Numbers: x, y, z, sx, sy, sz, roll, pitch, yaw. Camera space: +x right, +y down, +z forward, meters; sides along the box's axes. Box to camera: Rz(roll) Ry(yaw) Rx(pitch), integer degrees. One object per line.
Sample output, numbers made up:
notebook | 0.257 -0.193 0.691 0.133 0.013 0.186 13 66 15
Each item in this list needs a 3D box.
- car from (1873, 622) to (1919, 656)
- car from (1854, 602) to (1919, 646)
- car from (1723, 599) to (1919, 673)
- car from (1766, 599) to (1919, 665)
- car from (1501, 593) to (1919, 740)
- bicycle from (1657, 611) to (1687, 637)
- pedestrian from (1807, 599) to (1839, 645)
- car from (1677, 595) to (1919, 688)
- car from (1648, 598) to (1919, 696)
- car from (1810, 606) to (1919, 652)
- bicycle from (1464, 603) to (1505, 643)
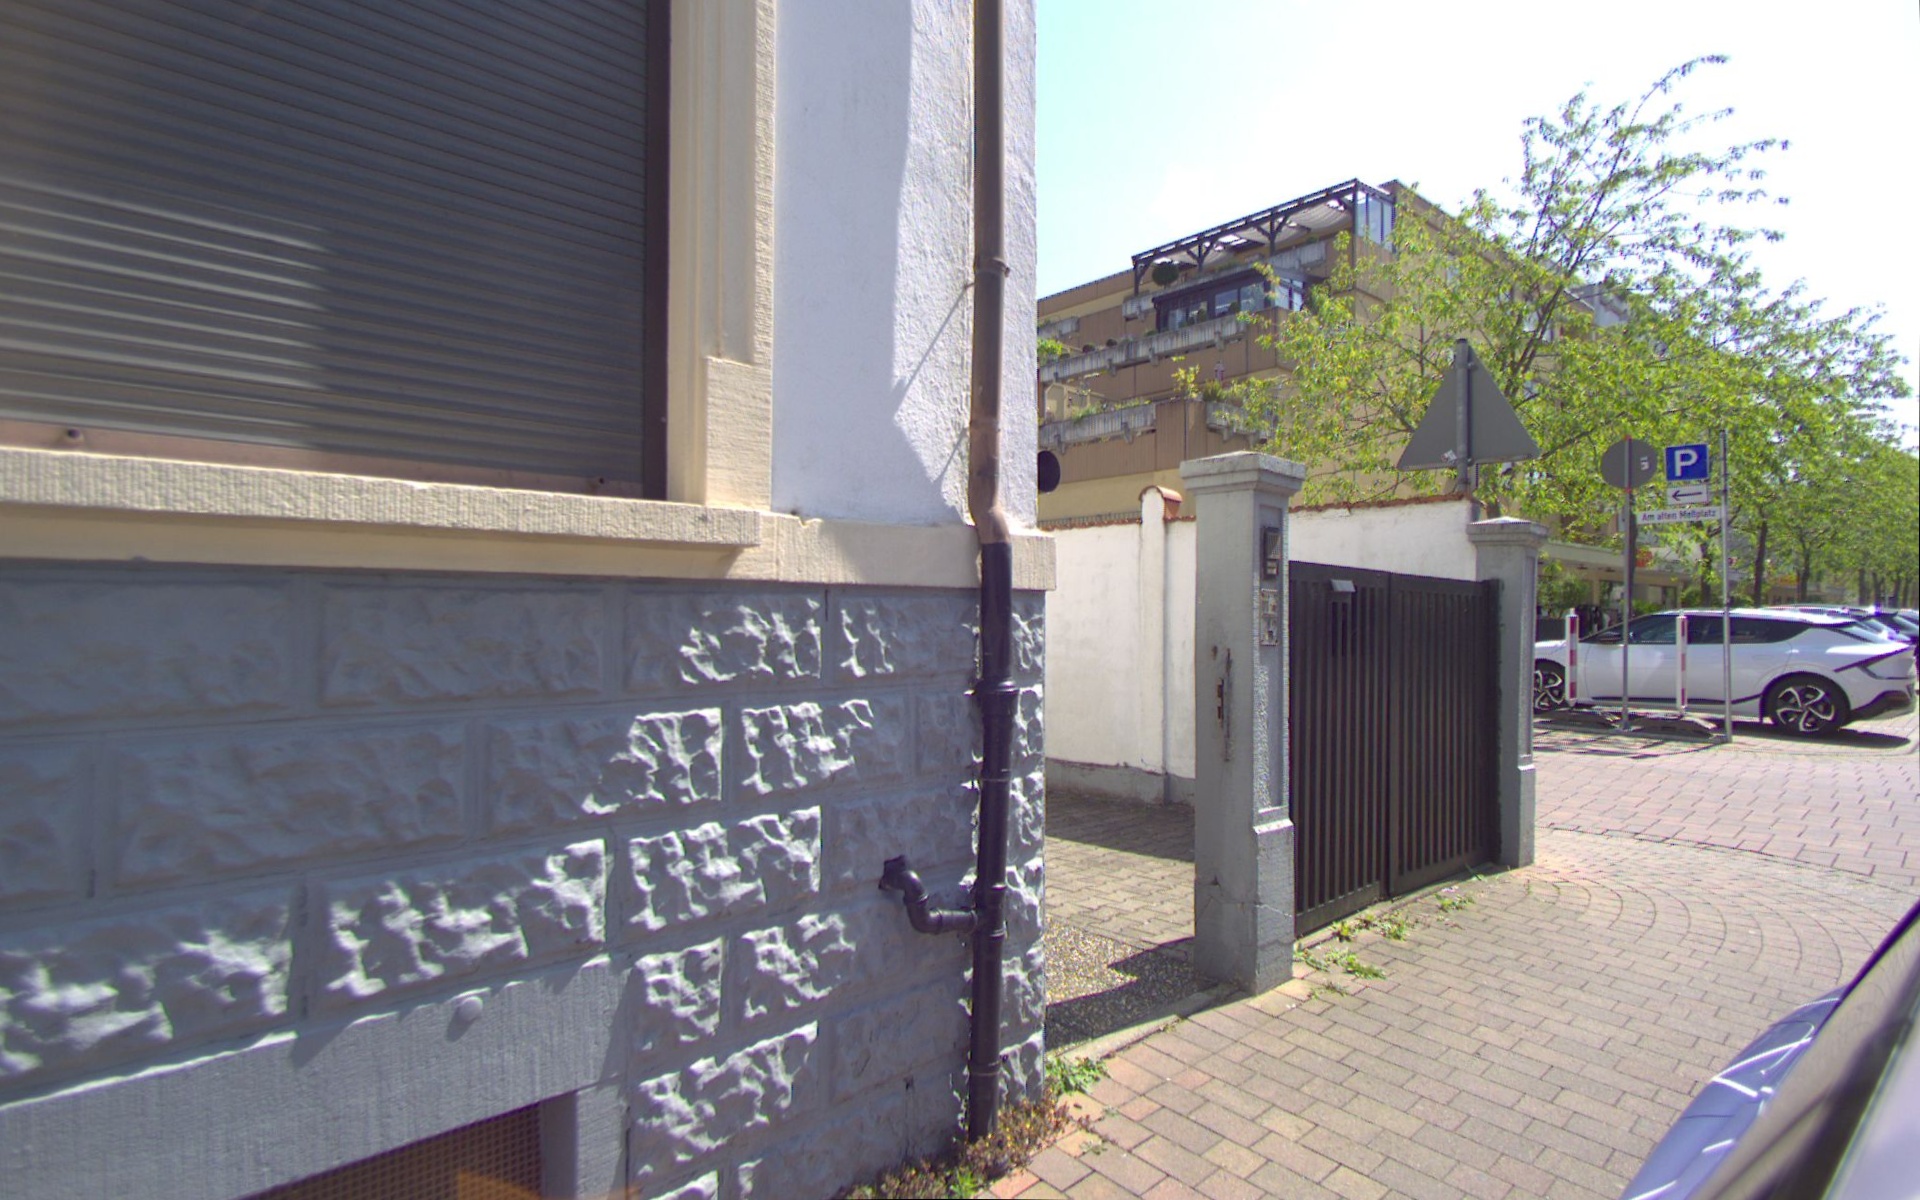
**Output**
car | 44.934 1.789 46.252 1.775 1.563 4.581 1 -2 -41
car | 36.875 0.921 38.443 1.727 1.638 4.249 1 0 -42
car | 21.062 0.804 23.944 1.817 1.608 4.517 1 0 -40
car | 24.424 0.833 27.280 1.653 1.632 4.032 1 1 -43
car | 9.986 0.743 13.617 1.758 1.596 4.447 1 0 -41
bicycle | 30.605 1.037 43.473 1.834 1.095 0.642 0 -2 -43
pedestrian | 33.200 0.859 38.945 0.634 1.753 0.617 -1 -2 -8
car | 17.326 0.764 20.511 1.967 1.702 4.282 1 0 -44
car | 15.287 0.782 18.697 1.793 1.553 3.949 1 1 -43
car | 32.231 1.004 34.767 4.350 1.482 1.870 1 0 30
bicycle | 15.346 0.657 29.575 1.743 1.138 0.413 0 -2 -41
